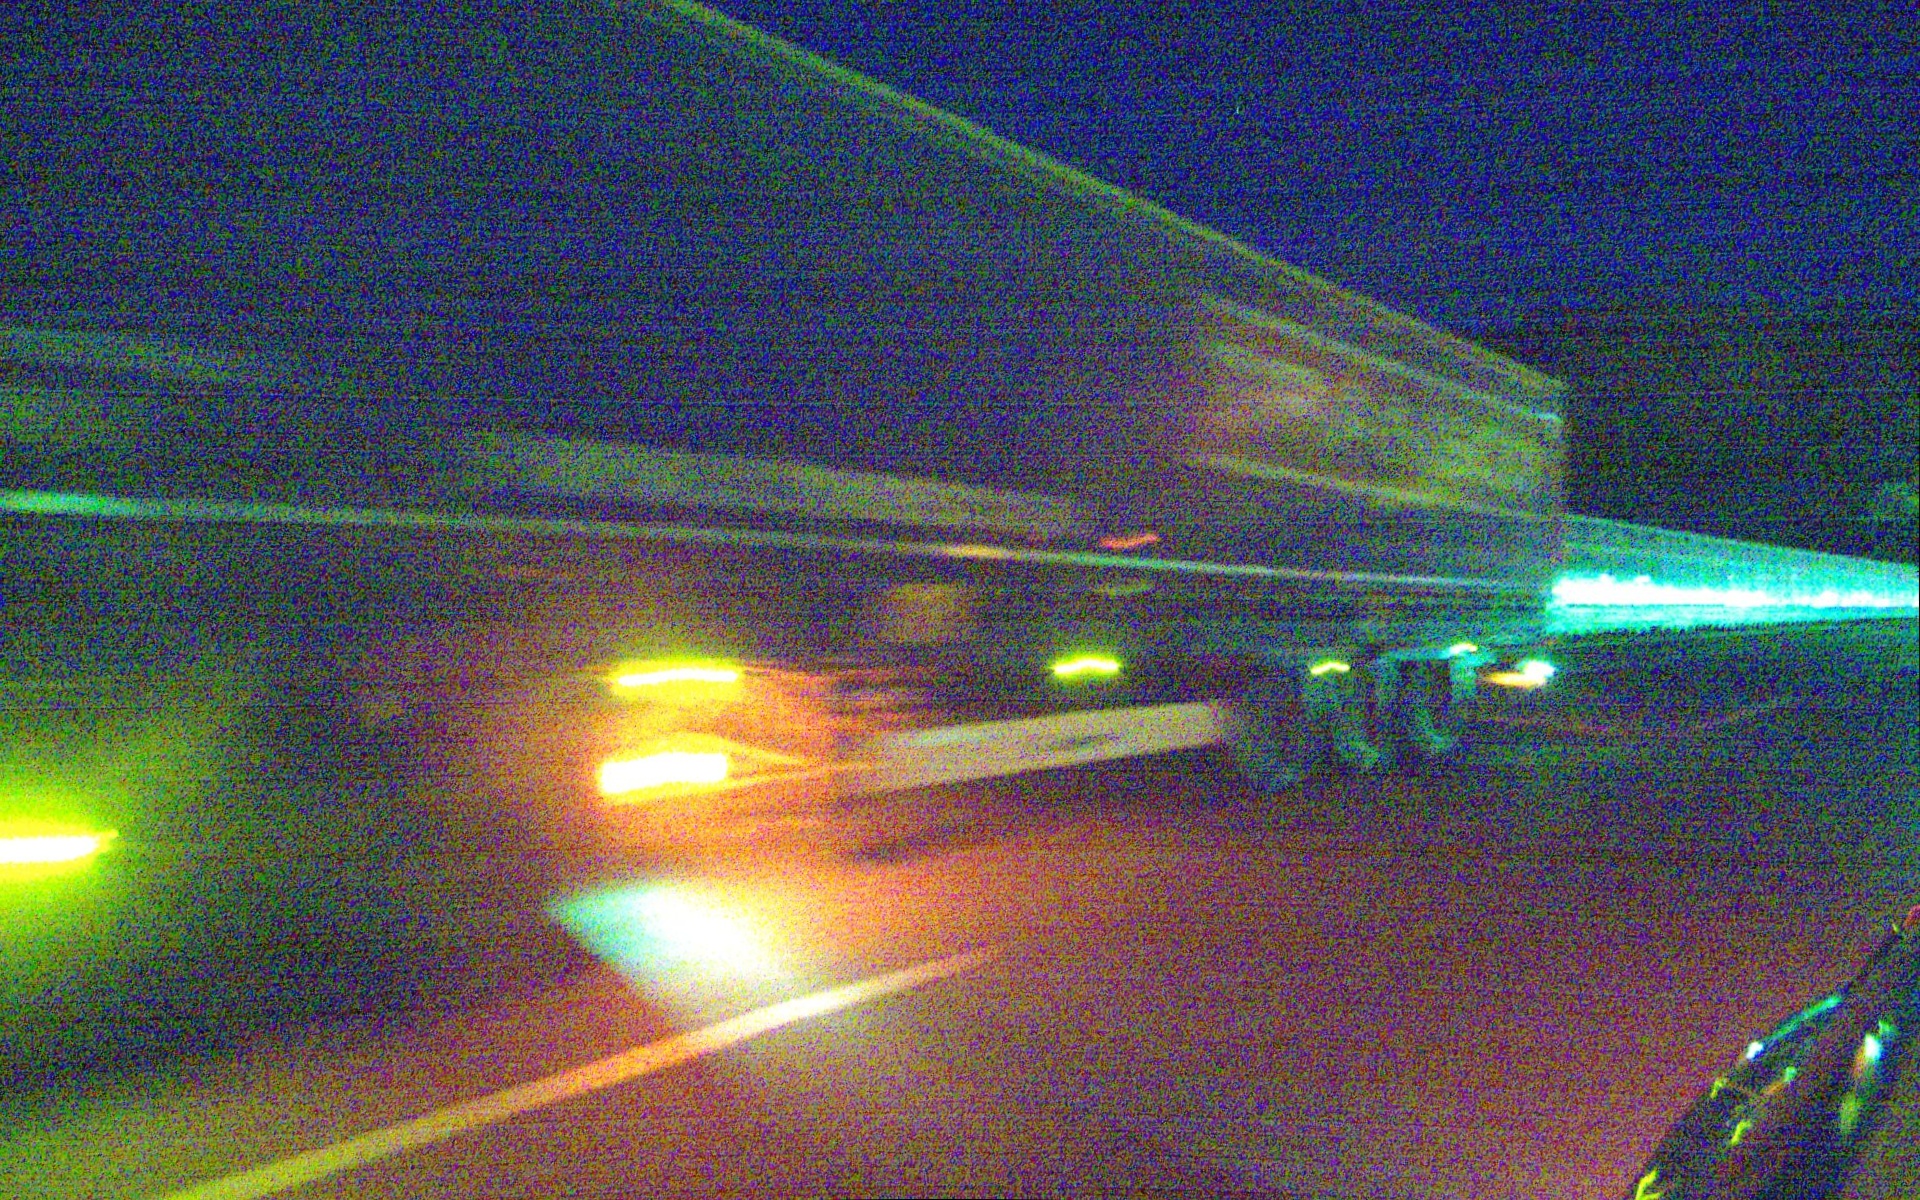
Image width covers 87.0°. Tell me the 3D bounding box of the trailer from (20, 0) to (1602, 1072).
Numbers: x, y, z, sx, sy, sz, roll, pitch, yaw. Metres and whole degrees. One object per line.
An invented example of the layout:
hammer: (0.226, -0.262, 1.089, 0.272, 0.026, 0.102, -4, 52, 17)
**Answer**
trailer: (1.333, -0.746, 8.220, 12.973, 4.117, 2.860, 0, 2, -41)

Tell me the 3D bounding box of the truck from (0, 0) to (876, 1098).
truck: (-4.139, -0.725, 3.395, 7.380, 4.127, 2.867, 0, 2, -42)
